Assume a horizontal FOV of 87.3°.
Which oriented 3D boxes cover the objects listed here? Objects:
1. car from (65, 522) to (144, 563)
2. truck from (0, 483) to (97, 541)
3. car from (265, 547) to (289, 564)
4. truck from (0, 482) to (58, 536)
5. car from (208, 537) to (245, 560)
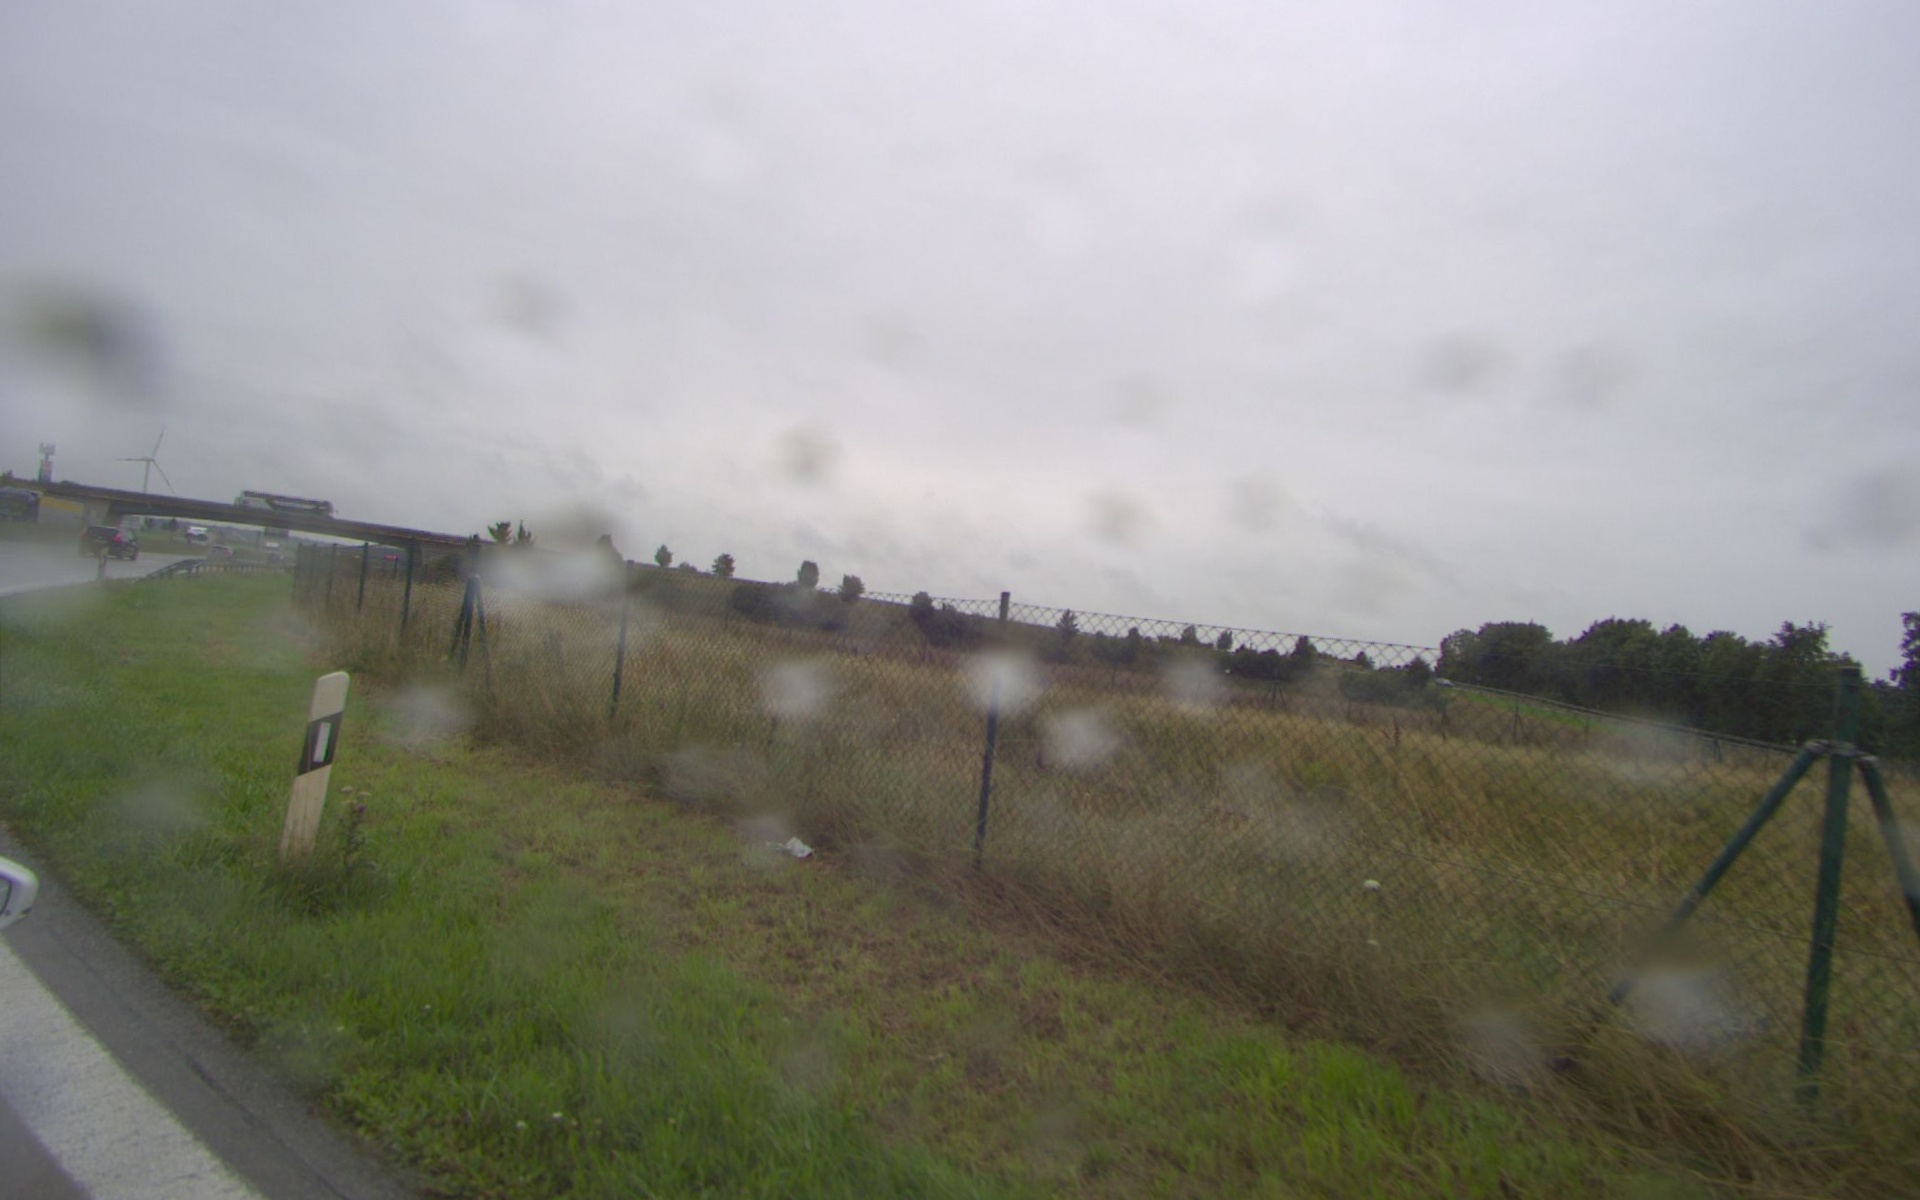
[{"bbox_3d":[-44.946,-2.978,52.973,2.130,1.654,4.564,9,-4,-29],"label":"car"},{"bbox_3d":[-86.086,-8.119,95.149,3.172,4.009,15.211,10,-3,-29],"label":"truck"},{"bbox_3d":[-83.747,-5.486,123.378,1.977,1.719,3.969,6,1,-29],"label":"car"},{"bbox_3d":[-81.810,-7.916,87.410,3.173,4.009,6.616,10,-3,-29],"label":"truck"},{"bbox_3d":[-65.878,-4.631,90.396,2.038,1.654,4.319,9,-3,-29],"label":"car"}]
